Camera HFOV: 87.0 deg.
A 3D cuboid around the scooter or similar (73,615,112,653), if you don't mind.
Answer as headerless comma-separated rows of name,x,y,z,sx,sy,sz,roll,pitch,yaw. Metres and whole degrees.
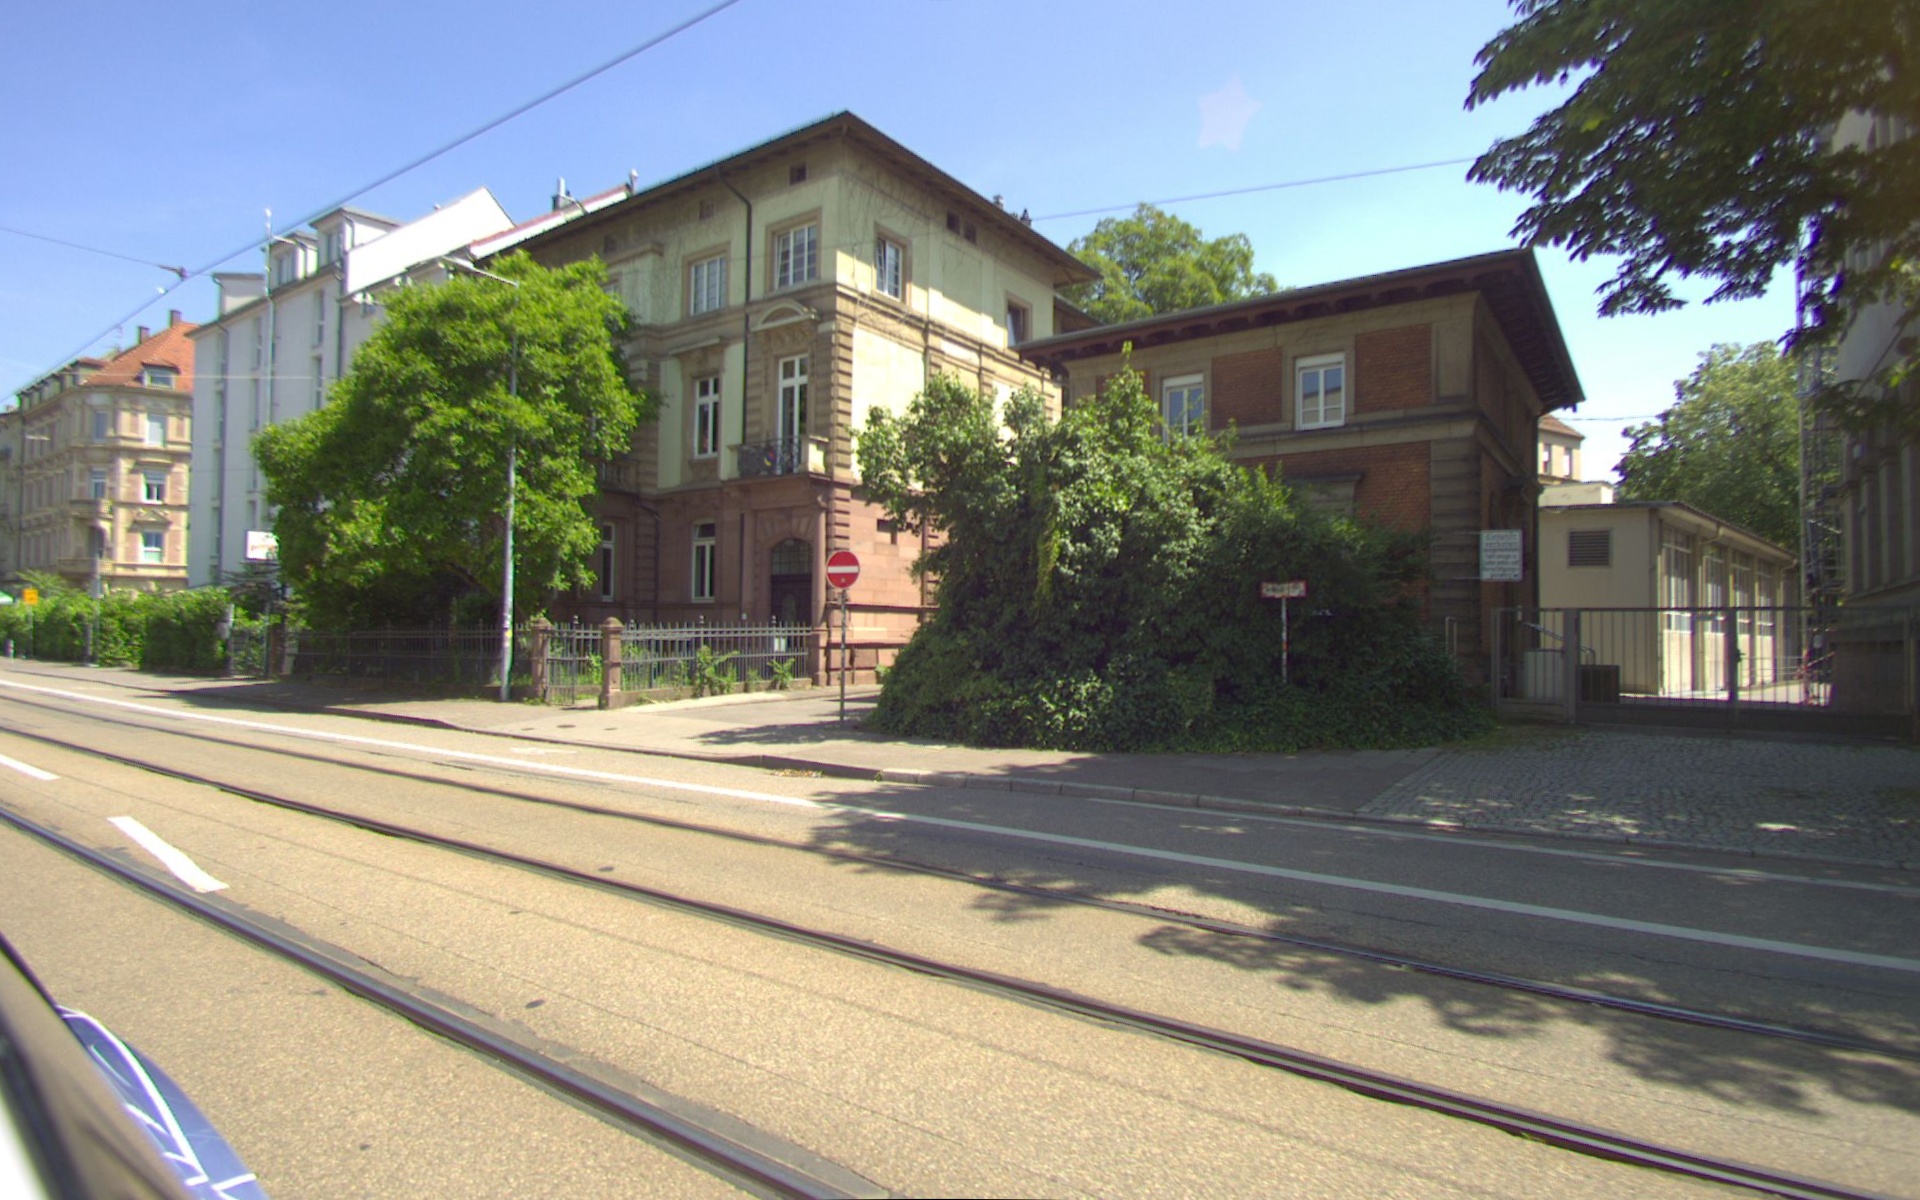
scooter or similar,-33.680,1.312,39.290,0.596,1.462,1.000,0,-1,36
